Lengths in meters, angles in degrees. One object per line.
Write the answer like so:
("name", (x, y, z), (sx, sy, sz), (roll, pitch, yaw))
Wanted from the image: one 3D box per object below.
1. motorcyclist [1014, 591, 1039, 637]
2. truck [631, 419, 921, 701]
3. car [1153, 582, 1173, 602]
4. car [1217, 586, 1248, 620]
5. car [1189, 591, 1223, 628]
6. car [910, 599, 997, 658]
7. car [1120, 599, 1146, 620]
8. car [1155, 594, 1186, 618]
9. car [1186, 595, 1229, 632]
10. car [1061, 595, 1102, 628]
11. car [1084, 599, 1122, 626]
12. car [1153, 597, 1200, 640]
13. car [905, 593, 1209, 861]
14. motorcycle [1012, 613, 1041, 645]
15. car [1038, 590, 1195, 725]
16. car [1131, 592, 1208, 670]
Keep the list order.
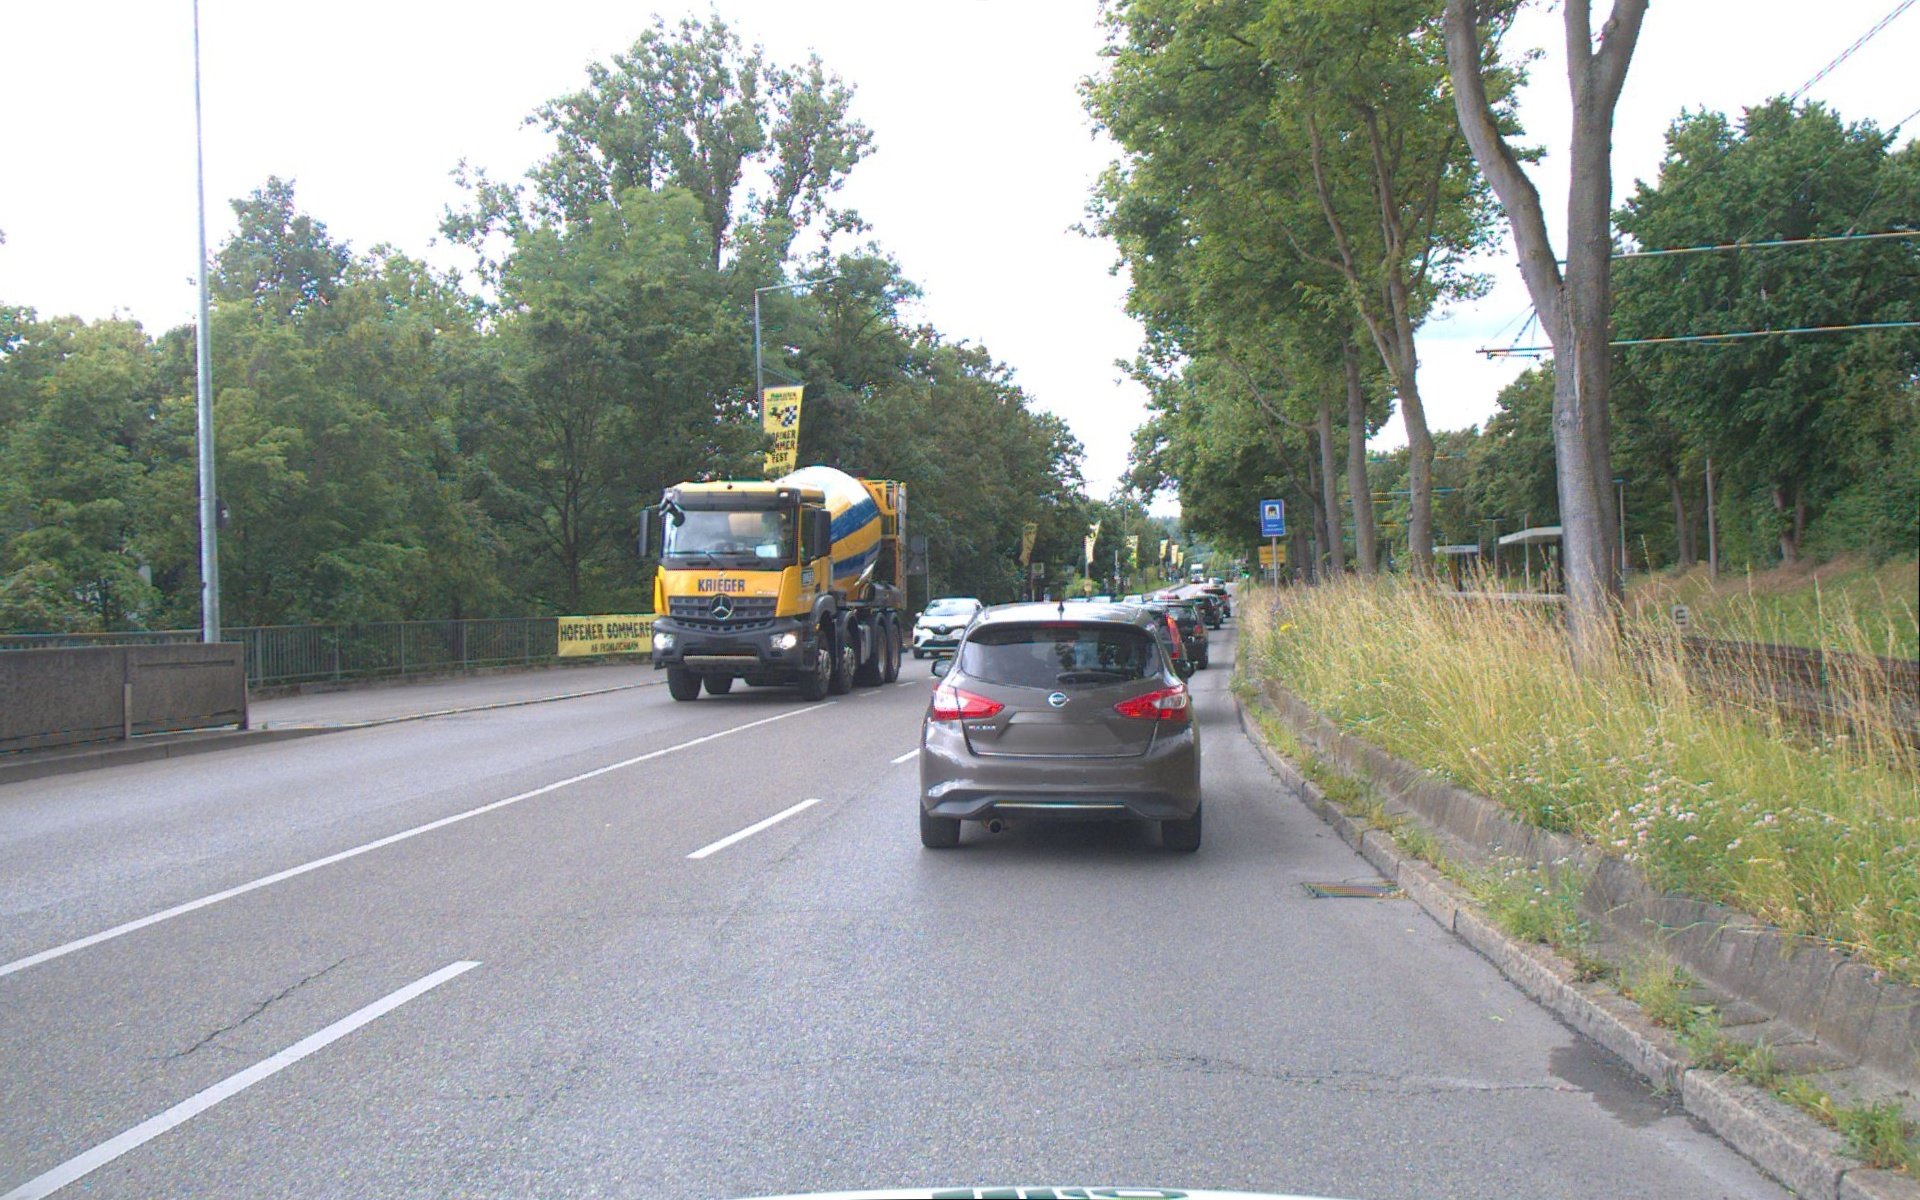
("motorcyclist", (2.303, 0.473, 57.286), (0.729, 1.566, 0.791), (-1, 0, 11))
("truck", (-2.757, -0.554, 28.626), (2.598, 4.008, 10.119), (0, 0, 8))
("car", (19.401, -0.725, 157.912), (1.682, 1.723, 3.728), (-2, -2, 9))
("car", (17.053, 0.164, 103.500), (1.850, 2.049, 4.003), (-1, 0, 10))
("car", (12.734, 0.511, 85.599), (1.682, 1.723, 4.003), (-2, -2, 9))
("car", (-0.122, 0.728, 44.135), (1.729, 1.505, 4.003), (-1, 0, 9))
("car", (12.825, 0.720, 122.591), (1.715, 1.445, 4.003), (-2, -2, 8))
("car", (14.114, 0.404, 110.731), (1.812, 1.512, 4.424), (-1, -1, 10))
("car", (10.751, 0.605, 71.729), (1.766, 1.567, 4.003), (0, -1, 9))
("car", (6.064, 0.613, 82.320), (1.684, 1.467, 4.003), (-2, -2, 9))
("car", (8.311, 0.705, 95.969), (1.779, 1.488, 4.003), (-2, 0, 10))
("car", (7.480, 0.640, 56.938), (1.468, 1.388, 3.590), (-2, -1, 9))
("car", (0.693, 0.765, 11.481), (1.737, 1.520, 4.001), (0, -1, 4))
("motorcycle", (2.314, 1.007, 57.261), (0.729, 1.051, 1.890), (-1, 0, 11))
("car", (1.976, 0.737, 21.880), (1.853, 1.602, 4.001), (-1, -1, 3))
("car", (4.586, 0.676, 36.632), (1.544, 1.565, 4.002), (-2, -1, 6))
